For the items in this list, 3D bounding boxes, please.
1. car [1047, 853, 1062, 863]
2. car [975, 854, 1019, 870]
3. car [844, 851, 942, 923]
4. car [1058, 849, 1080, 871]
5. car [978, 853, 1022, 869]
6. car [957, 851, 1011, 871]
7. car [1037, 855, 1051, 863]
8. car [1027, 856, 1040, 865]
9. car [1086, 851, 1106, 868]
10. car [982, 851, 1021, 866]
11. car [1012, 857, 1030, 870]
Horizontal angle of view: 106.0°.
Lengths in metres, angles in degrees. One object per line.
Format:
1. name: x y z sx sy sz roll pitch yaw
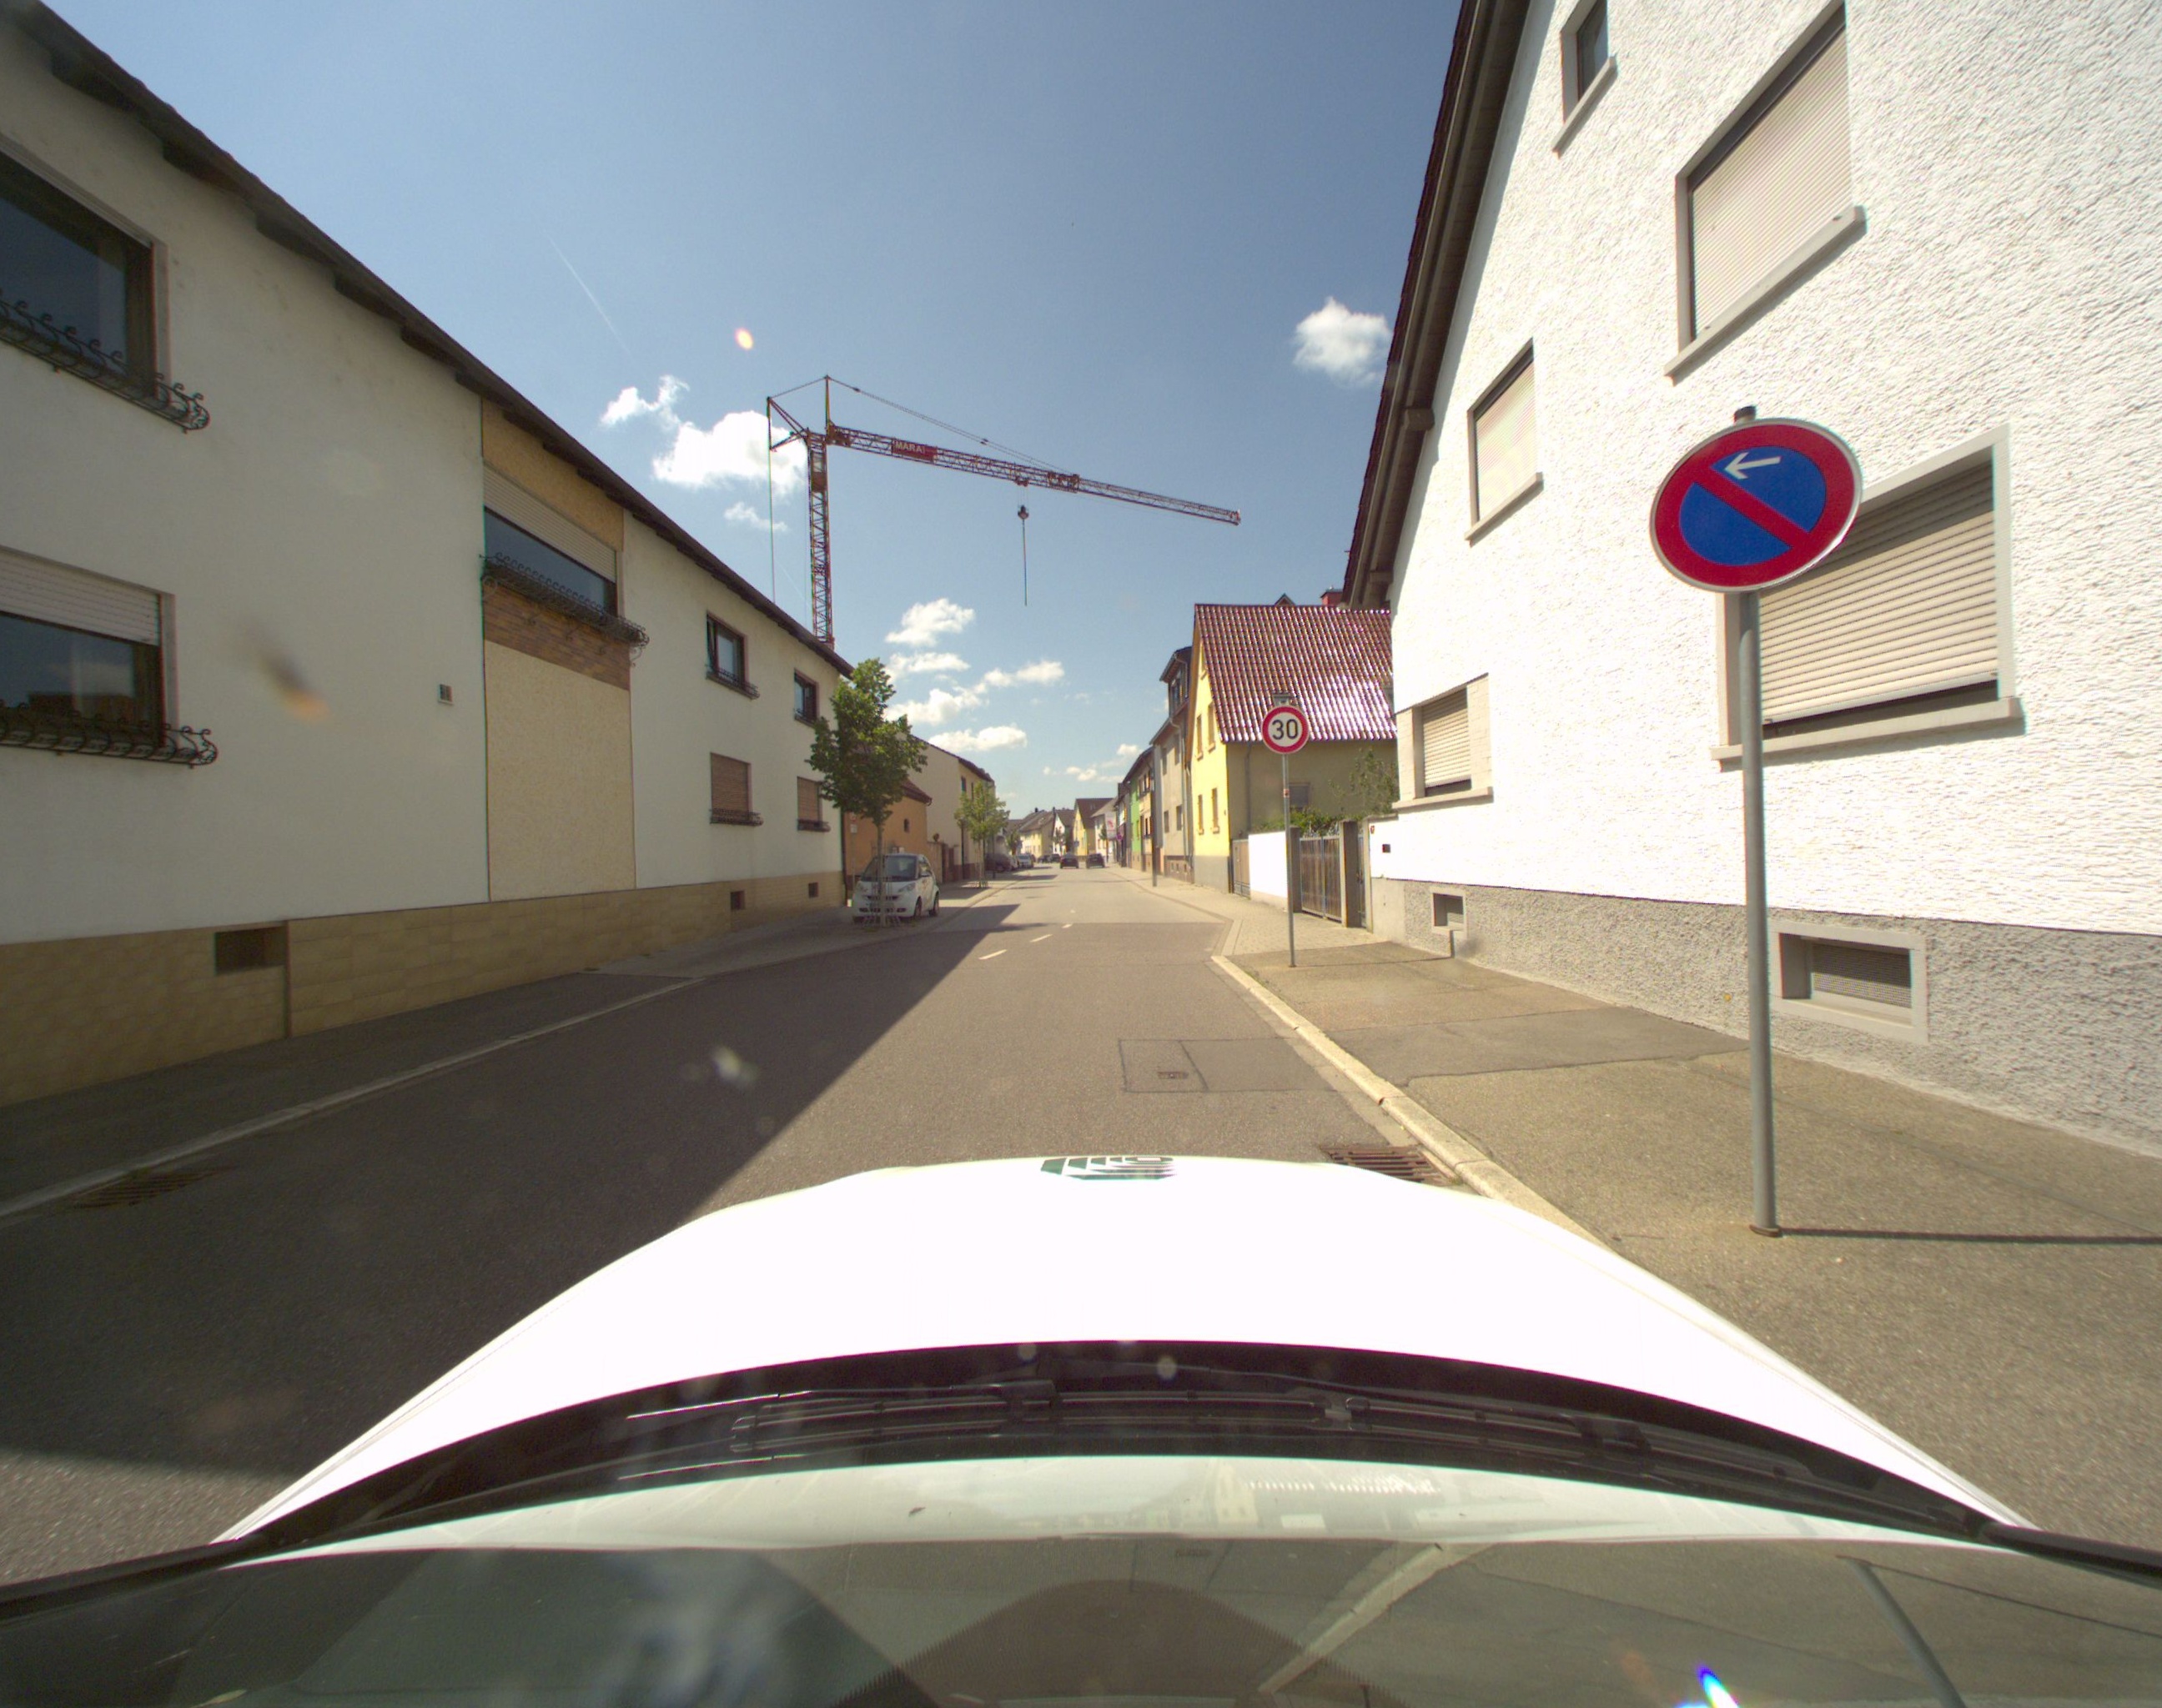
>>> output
1. car: -4.390 0.640 136.113 1.848 1.562 3.677 -2 0 -12
2. car: -7.730 0.731 75.324 3.887 1.502 1.751 1 0 0
3. car: -4.328 0.715 19.101 1.567 1.561 2.822 0 0 1
4. car: -1.206 0.614 81.117 1.988 2.057 4.372 -2 0 -1
5. car: -7.709 0.668 77.618 3.975 1.441 1.690 1 0 -1
6. car: -8.001 0.594 67.375 4.207 1.658 1.783 0 0 -2
7. car: -6.546 0.910 143.688 1.712 1.387 3.690 -2 0 -12
8. car: -9.147 1.210 156.909 1.879 1.591 3.983 -2 0 -12
9. car: 1.469 0.537 79.799 1.851 1.459 4.587 -4 0 1
10. car: -7.812 0.429 80.598 3.680 1.525 1.672 0 0 0
11. car: -6.519 0.996 88.612 1.752 1.411 3.877 0 0 0
